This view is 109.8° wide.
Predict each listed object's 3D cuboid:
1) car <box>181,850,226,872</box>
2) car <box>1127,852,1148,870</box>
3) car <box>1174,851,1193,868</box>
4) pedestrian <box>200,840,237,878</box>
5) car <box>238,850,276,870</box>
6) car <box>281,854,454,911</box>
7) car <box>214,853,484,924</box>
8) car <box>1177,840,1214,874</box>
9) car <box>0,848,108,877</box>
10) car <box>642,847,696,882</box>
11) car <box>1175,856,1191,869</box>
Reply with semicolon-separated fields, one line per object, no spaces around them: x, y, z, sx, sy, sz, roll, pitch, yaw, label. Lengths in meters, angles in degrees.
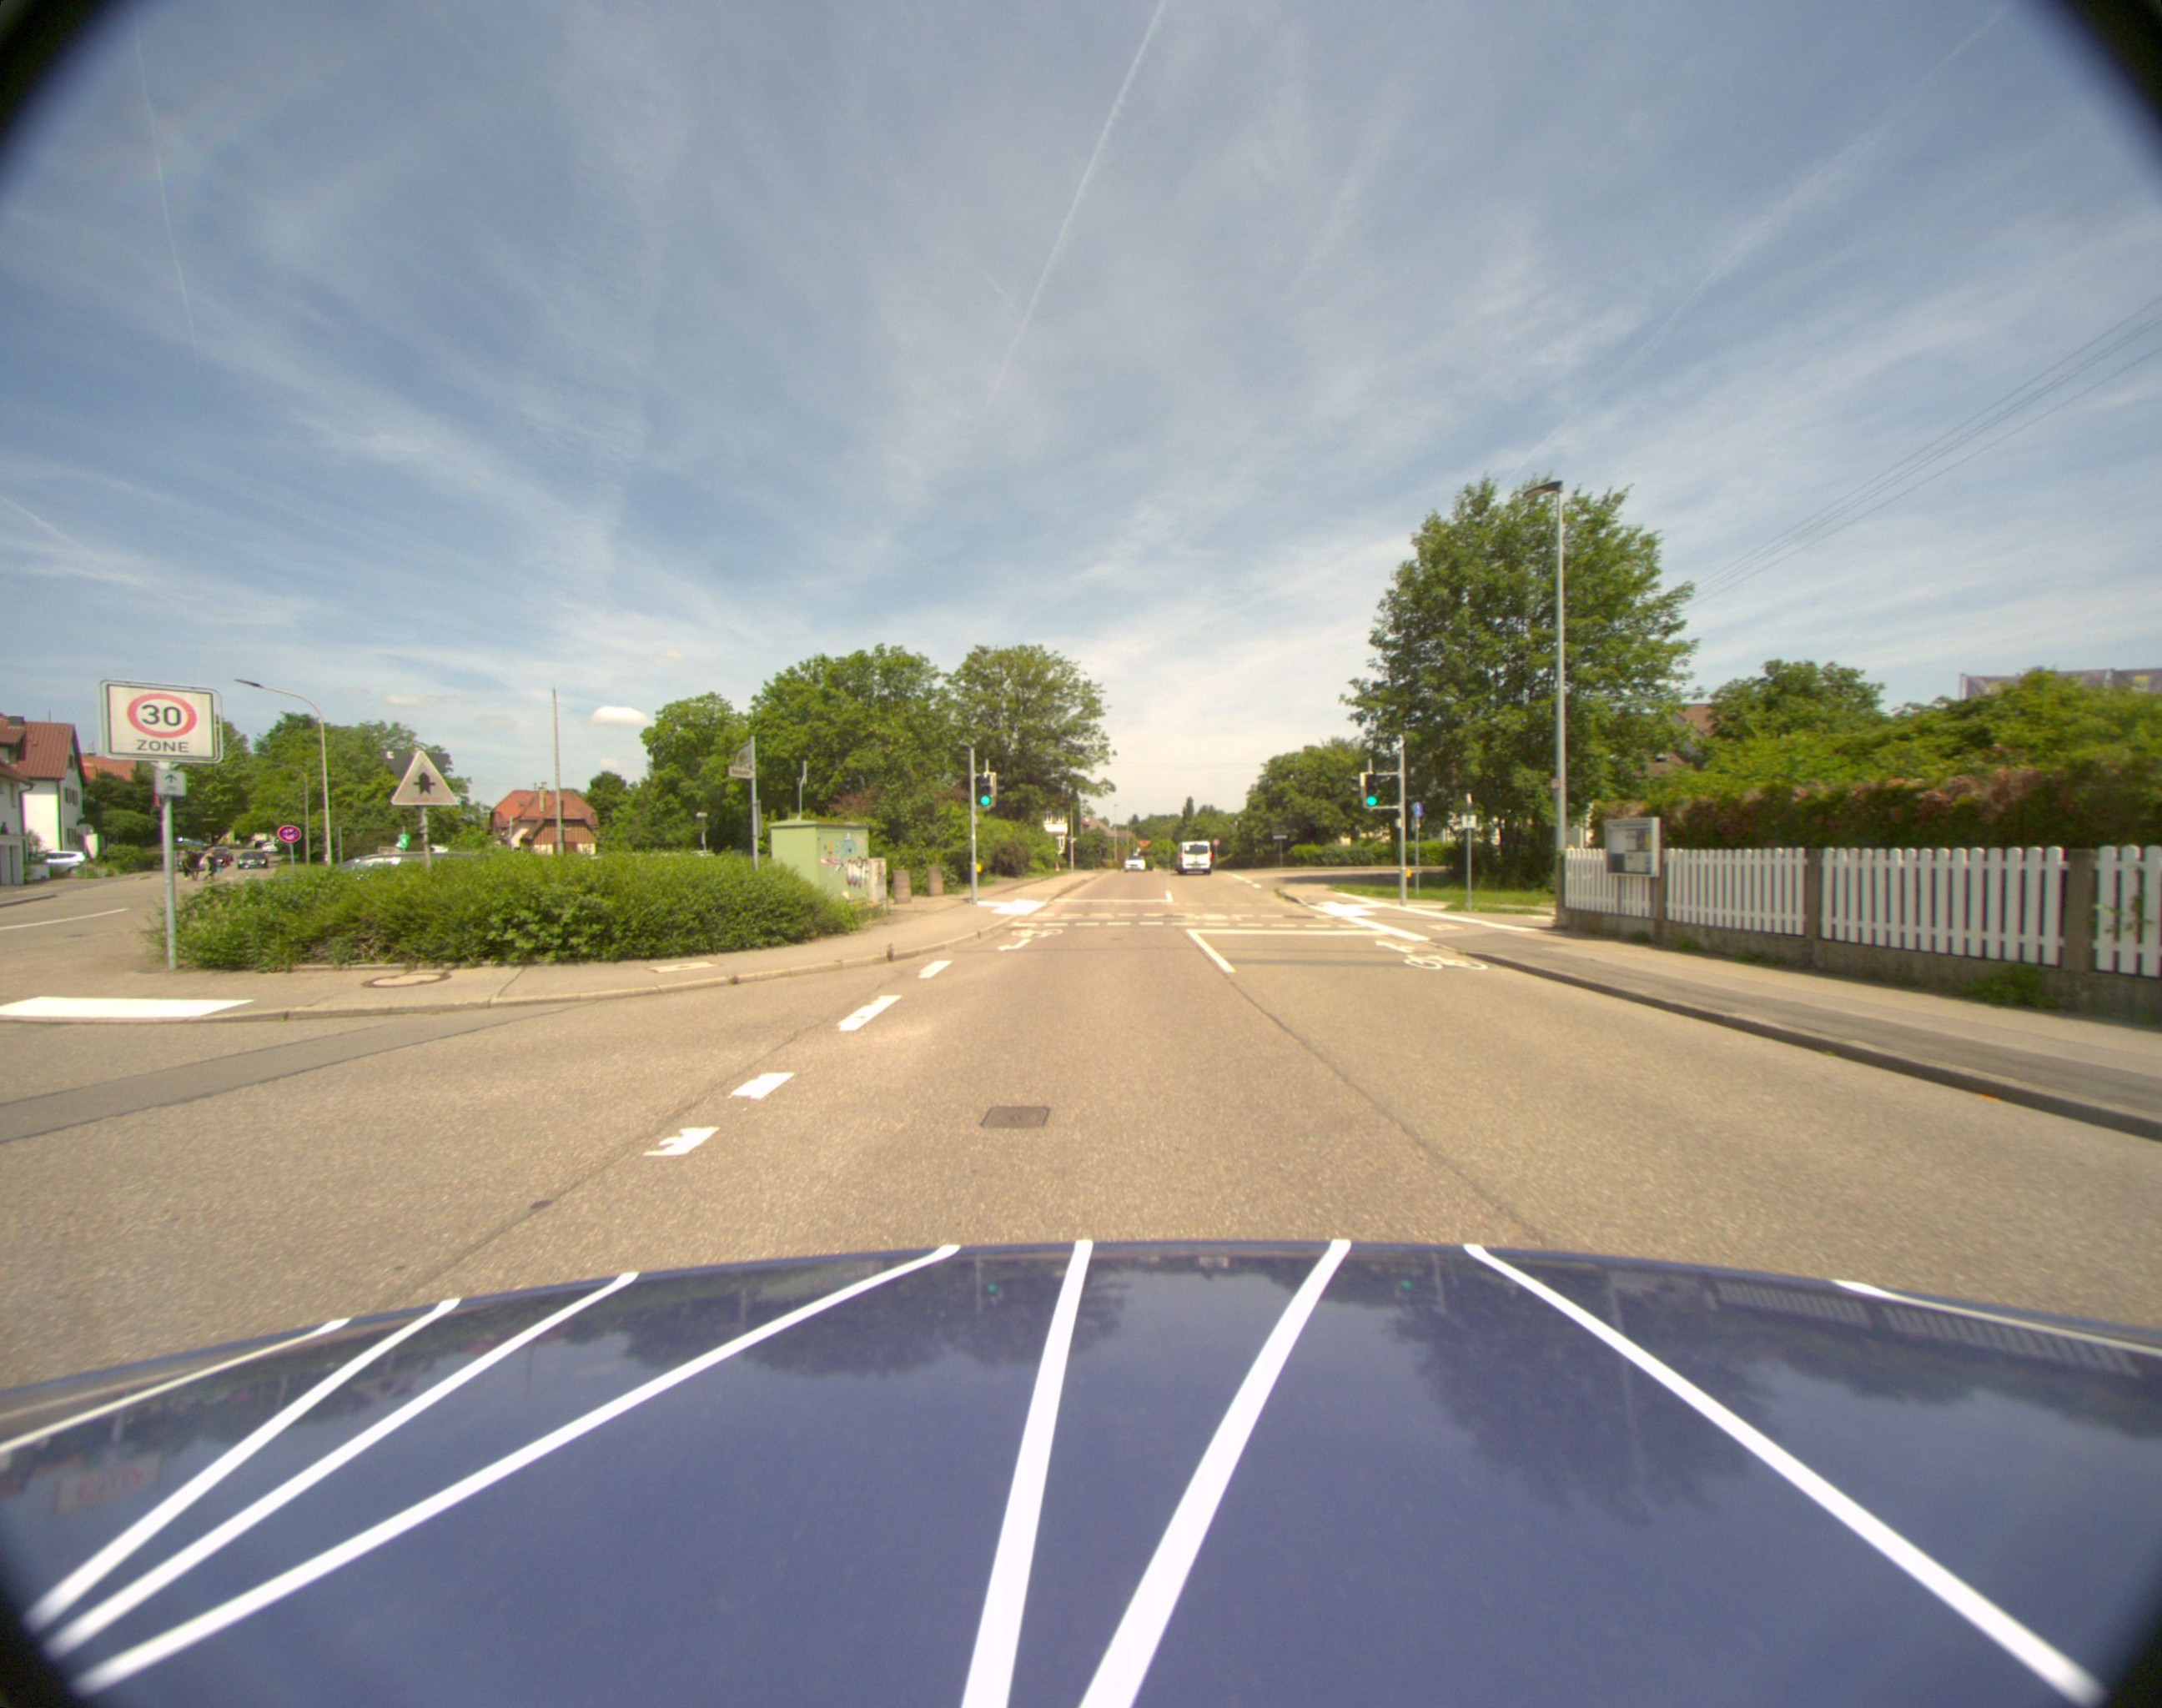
-71.522;0.527;61.993;2.004;1.717;3.988;-1;1;-44;car
4.987;0.656;67.719;1.826;1.543;4.001;0;0;3;car
12.368;0.729;91.546;1.900;1.908;4.873;1;-1;4;car
-45.487;0.259;40.093;1.106;2.002;1.007;-1;1;-39;pedestrian
-72.352;0.514;66.758;2.004;1.717;3.988;-1;1;-44;car
-19.819;0.734;21.236;3.441;1.476;1.413;0;1;-44;car
-16.370;0.703;17.334;4.293;1.390;1.396;-1;1;-38;car
6.974;0.151;46.772;1.883;1.954;4.903;0;1;4;car
-66.088;0.505;48.978;1.994;1.767;4.008;0;1;41;car
-20.185;0.478;37.147;1.610;1.608;3.726;-1;1;-40;car
13.360;1.120;99.326;1.815;1.540;4.245;0;-2;4;car
